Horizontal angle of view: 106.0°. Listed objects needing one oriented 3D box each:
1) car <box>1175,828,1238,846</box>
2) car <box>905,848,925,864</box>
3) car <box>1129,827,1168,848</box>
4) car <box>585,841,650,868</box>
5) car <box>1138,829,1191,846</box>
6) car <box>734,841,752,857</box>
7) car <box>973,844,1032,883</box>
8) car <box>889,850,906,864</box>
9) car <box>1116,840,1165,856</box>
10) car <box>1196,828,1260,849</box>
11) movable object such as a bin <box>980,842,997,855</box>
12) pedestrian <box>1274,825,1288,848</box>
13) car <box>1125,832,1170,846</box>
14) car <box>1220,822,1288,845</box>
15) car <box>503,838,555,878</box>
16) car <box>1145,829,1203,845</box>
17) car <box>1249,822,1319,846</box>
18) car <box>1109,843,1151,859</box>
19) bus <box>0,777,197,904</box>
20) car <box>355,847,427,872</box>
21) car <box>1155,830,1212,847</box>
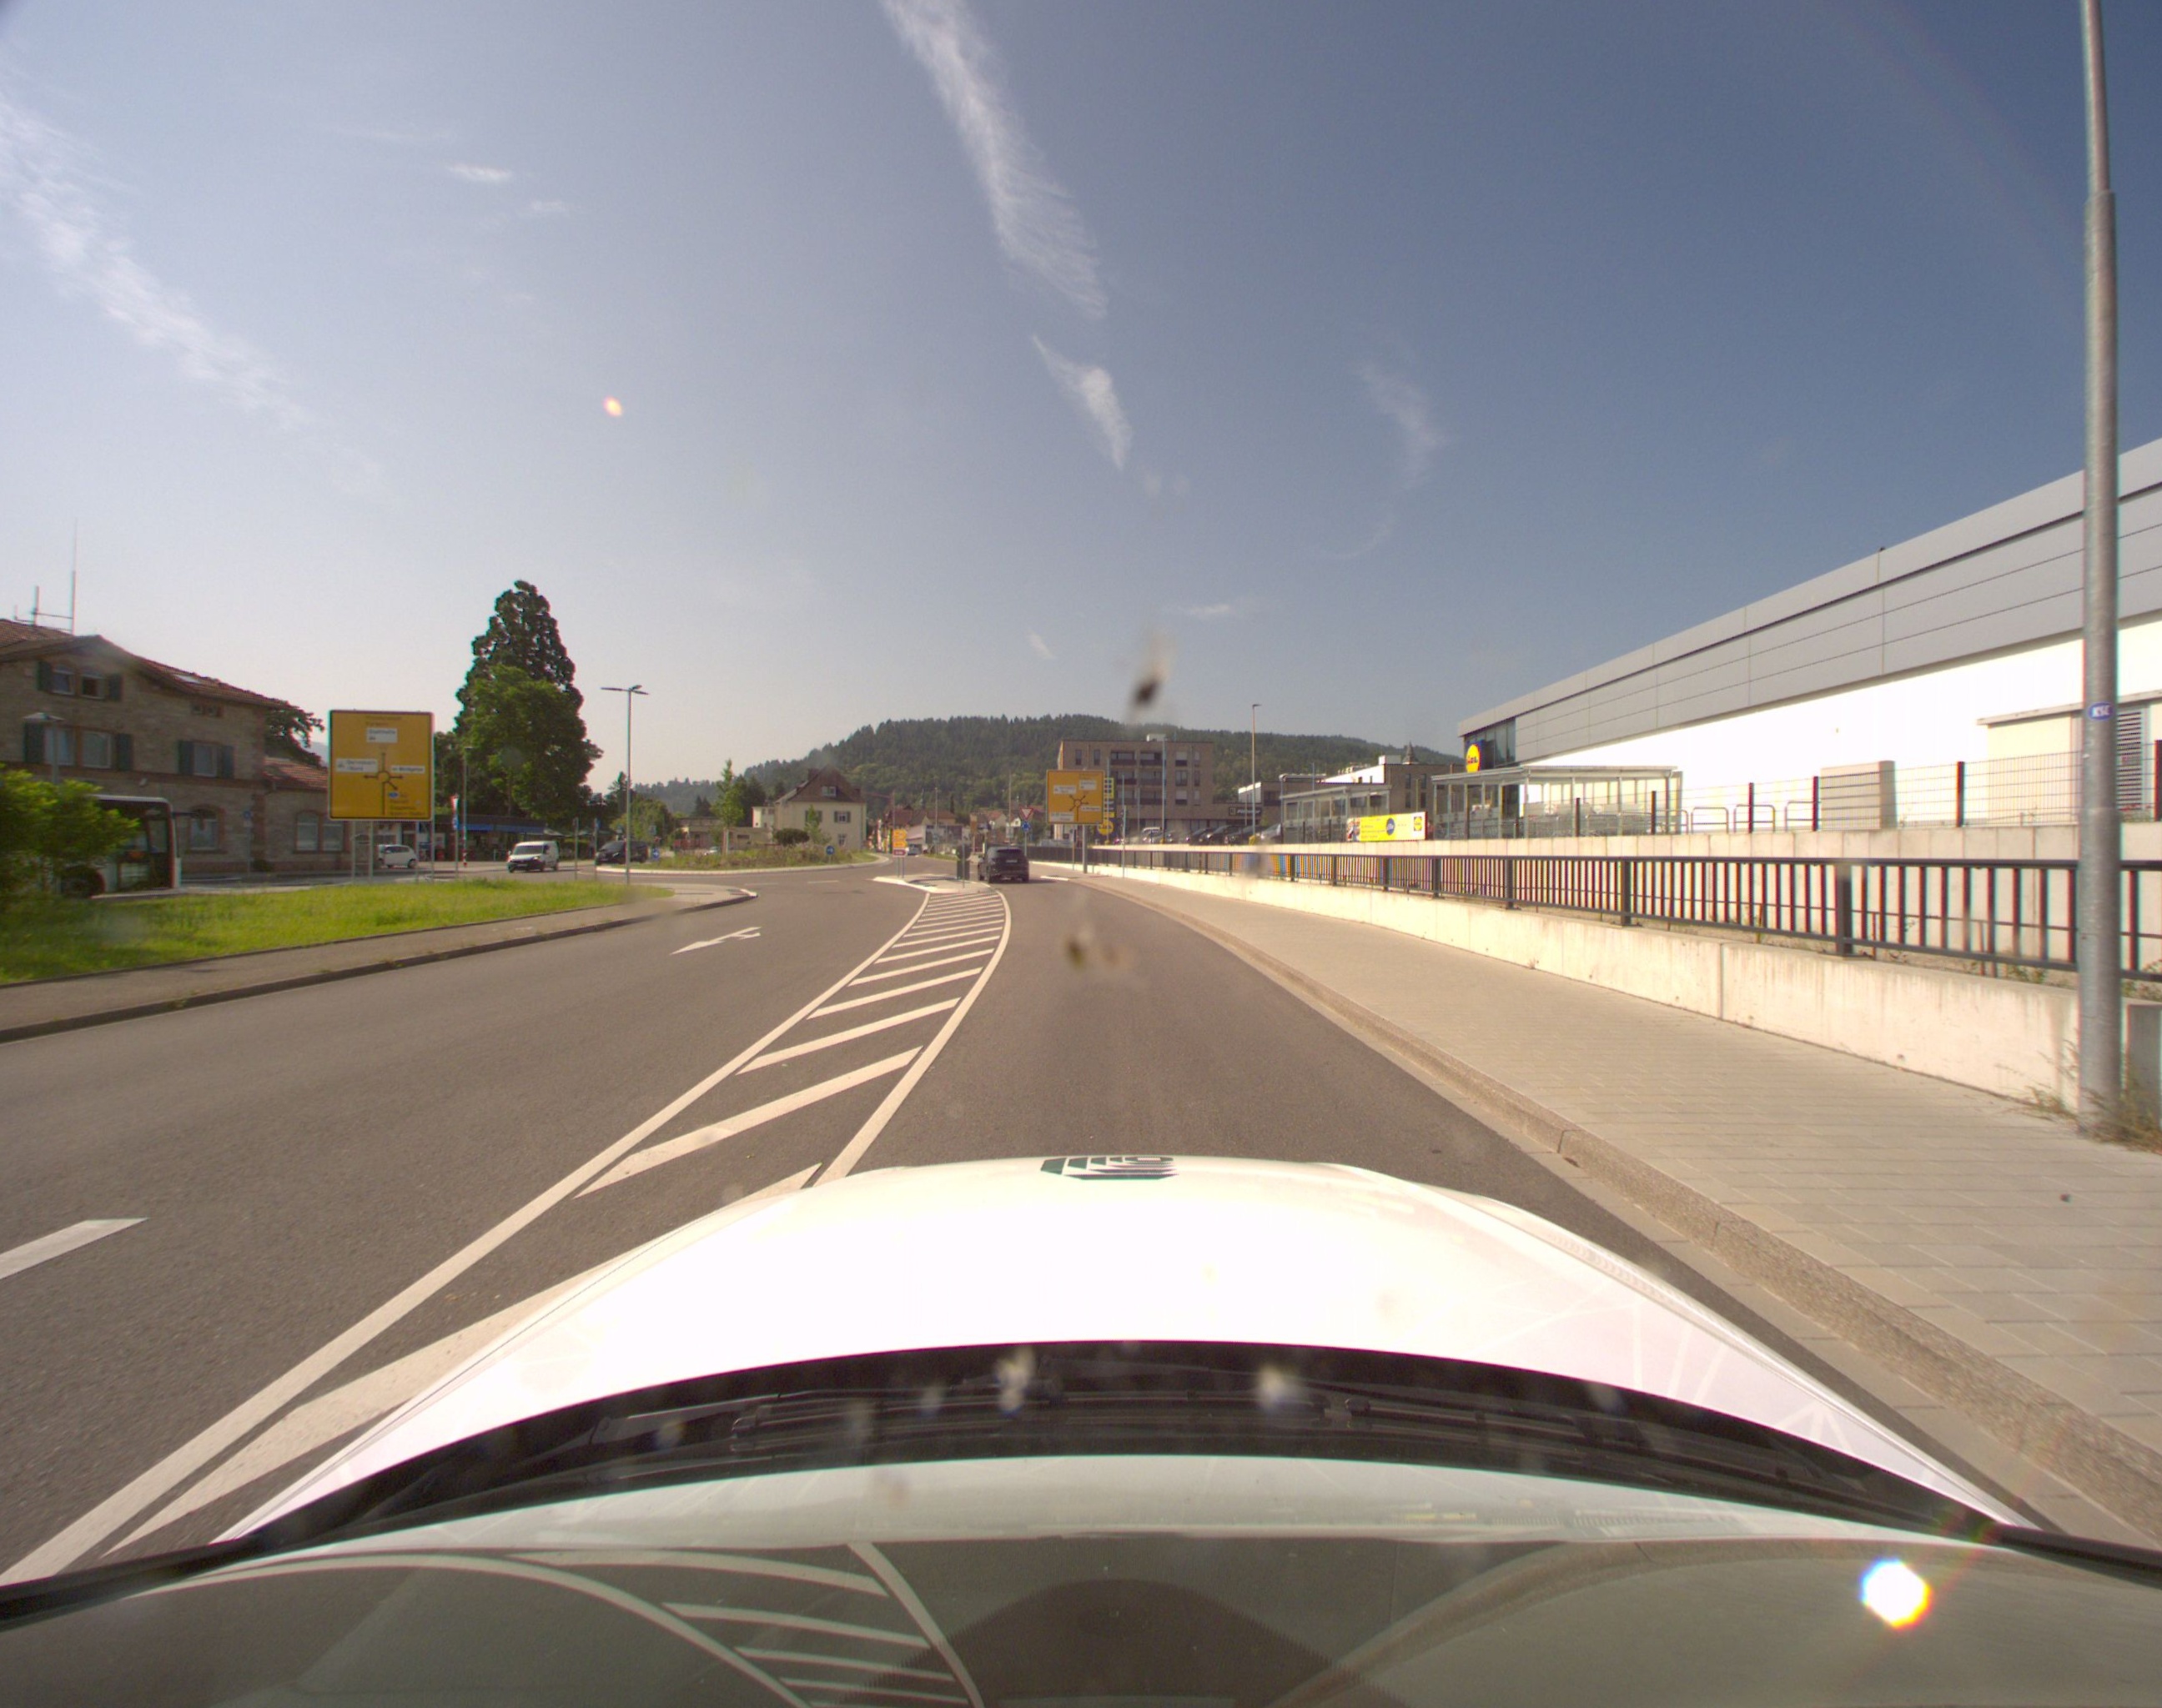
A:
[{"bbox_3d":[9.125,-1.246,59.319,4.224,1.245,1.734,0,1,-18],"label":"car"},{"bbox_3d":[-21.373,0.304,105.155,1.990,2.013,3.993,-1,0,-5],"label":"car"},{"bbox_3d":[7.116,-1.692,86.125,3.969,2.136,2.002,-1,0,4],"label":"car"},{"bbox_3d":[-35.487,0.046,62.543,1.830,1.946,4.890,-1,0,6],"label":"car"},{"bbox_3d":[6.863,-1.337,66.783,4.046,1.342,1.650,0,1,-17],"label":"car"},{"bbox_3d":[-41.868,-0.645,100.853,1.815,2.013,3.974,-1,1,-20],"label":"car"},{"bbox_3d":[-3.752,0.424,38.239,1.887,1.684,3.974,-1,0,-19],"label":"car"},{"bbox_3d":[-27.072,0.468,119.955,2.000,2.013,3.972,-1,0,-20],"label":"car"},{"bbox_3d":[5.352,-0.545,73.064,4.063,1.487,1.708,0,1,-15],"label":"car"},{"bbox_3d":[10.122,-1.025,56.048,4.015,1.404,1.715,0,1,-18],"label":"car"},{"bbox_3d":[-13.320,-0.812,117.559,2.442,1.844,1.424,-1,0,-9],"label":"movable object such as a bin"},{"bbox_3d":[11.755,-1.021,47.875,0.548,1.312,0.653,0,0,-15],"label":"pedestrian"},{"bbox_3d":[5.729,-1.312,70.248,3.564,1.199,1.704,0,1,-17],"label":"car"},{"bbox_3d":[11.135,-1.297,52.450,4.072,1.404,1.477,0,1,-18],"label":"car"},{"bbox_3d":[-33.217,0.178,49.132,1.815,2.077,4.569,0,3,-24],"label":"car"},{"bbox_3d":[7.390,-1.354,64.825,4.290,1.245,1.654,0,1,-18],"label":"car"},{"bbox_3d":[12.290,-1.203,49.303,3.815,1.364,1.671,0,1,-18],"label":"car"},{"bbox_3d":[4.566,-0.257,75.676,3.564,1.430,1.701,0,1,-17],"label":"car"},{"bbox_3d":[-27.982,-0.323,18.703,3.058,3.123,11.708,0,1,-3],"label":"bus"},{"bbox_3d":[-43.623,0.375,51.589,1.382,1.450,3.539,0,-2,3],"label":"car"},{"bbox_3d":[7.791,-1.193,62.163,3.977,1.245,1.720,0,1,-18],"label":"car"}]
